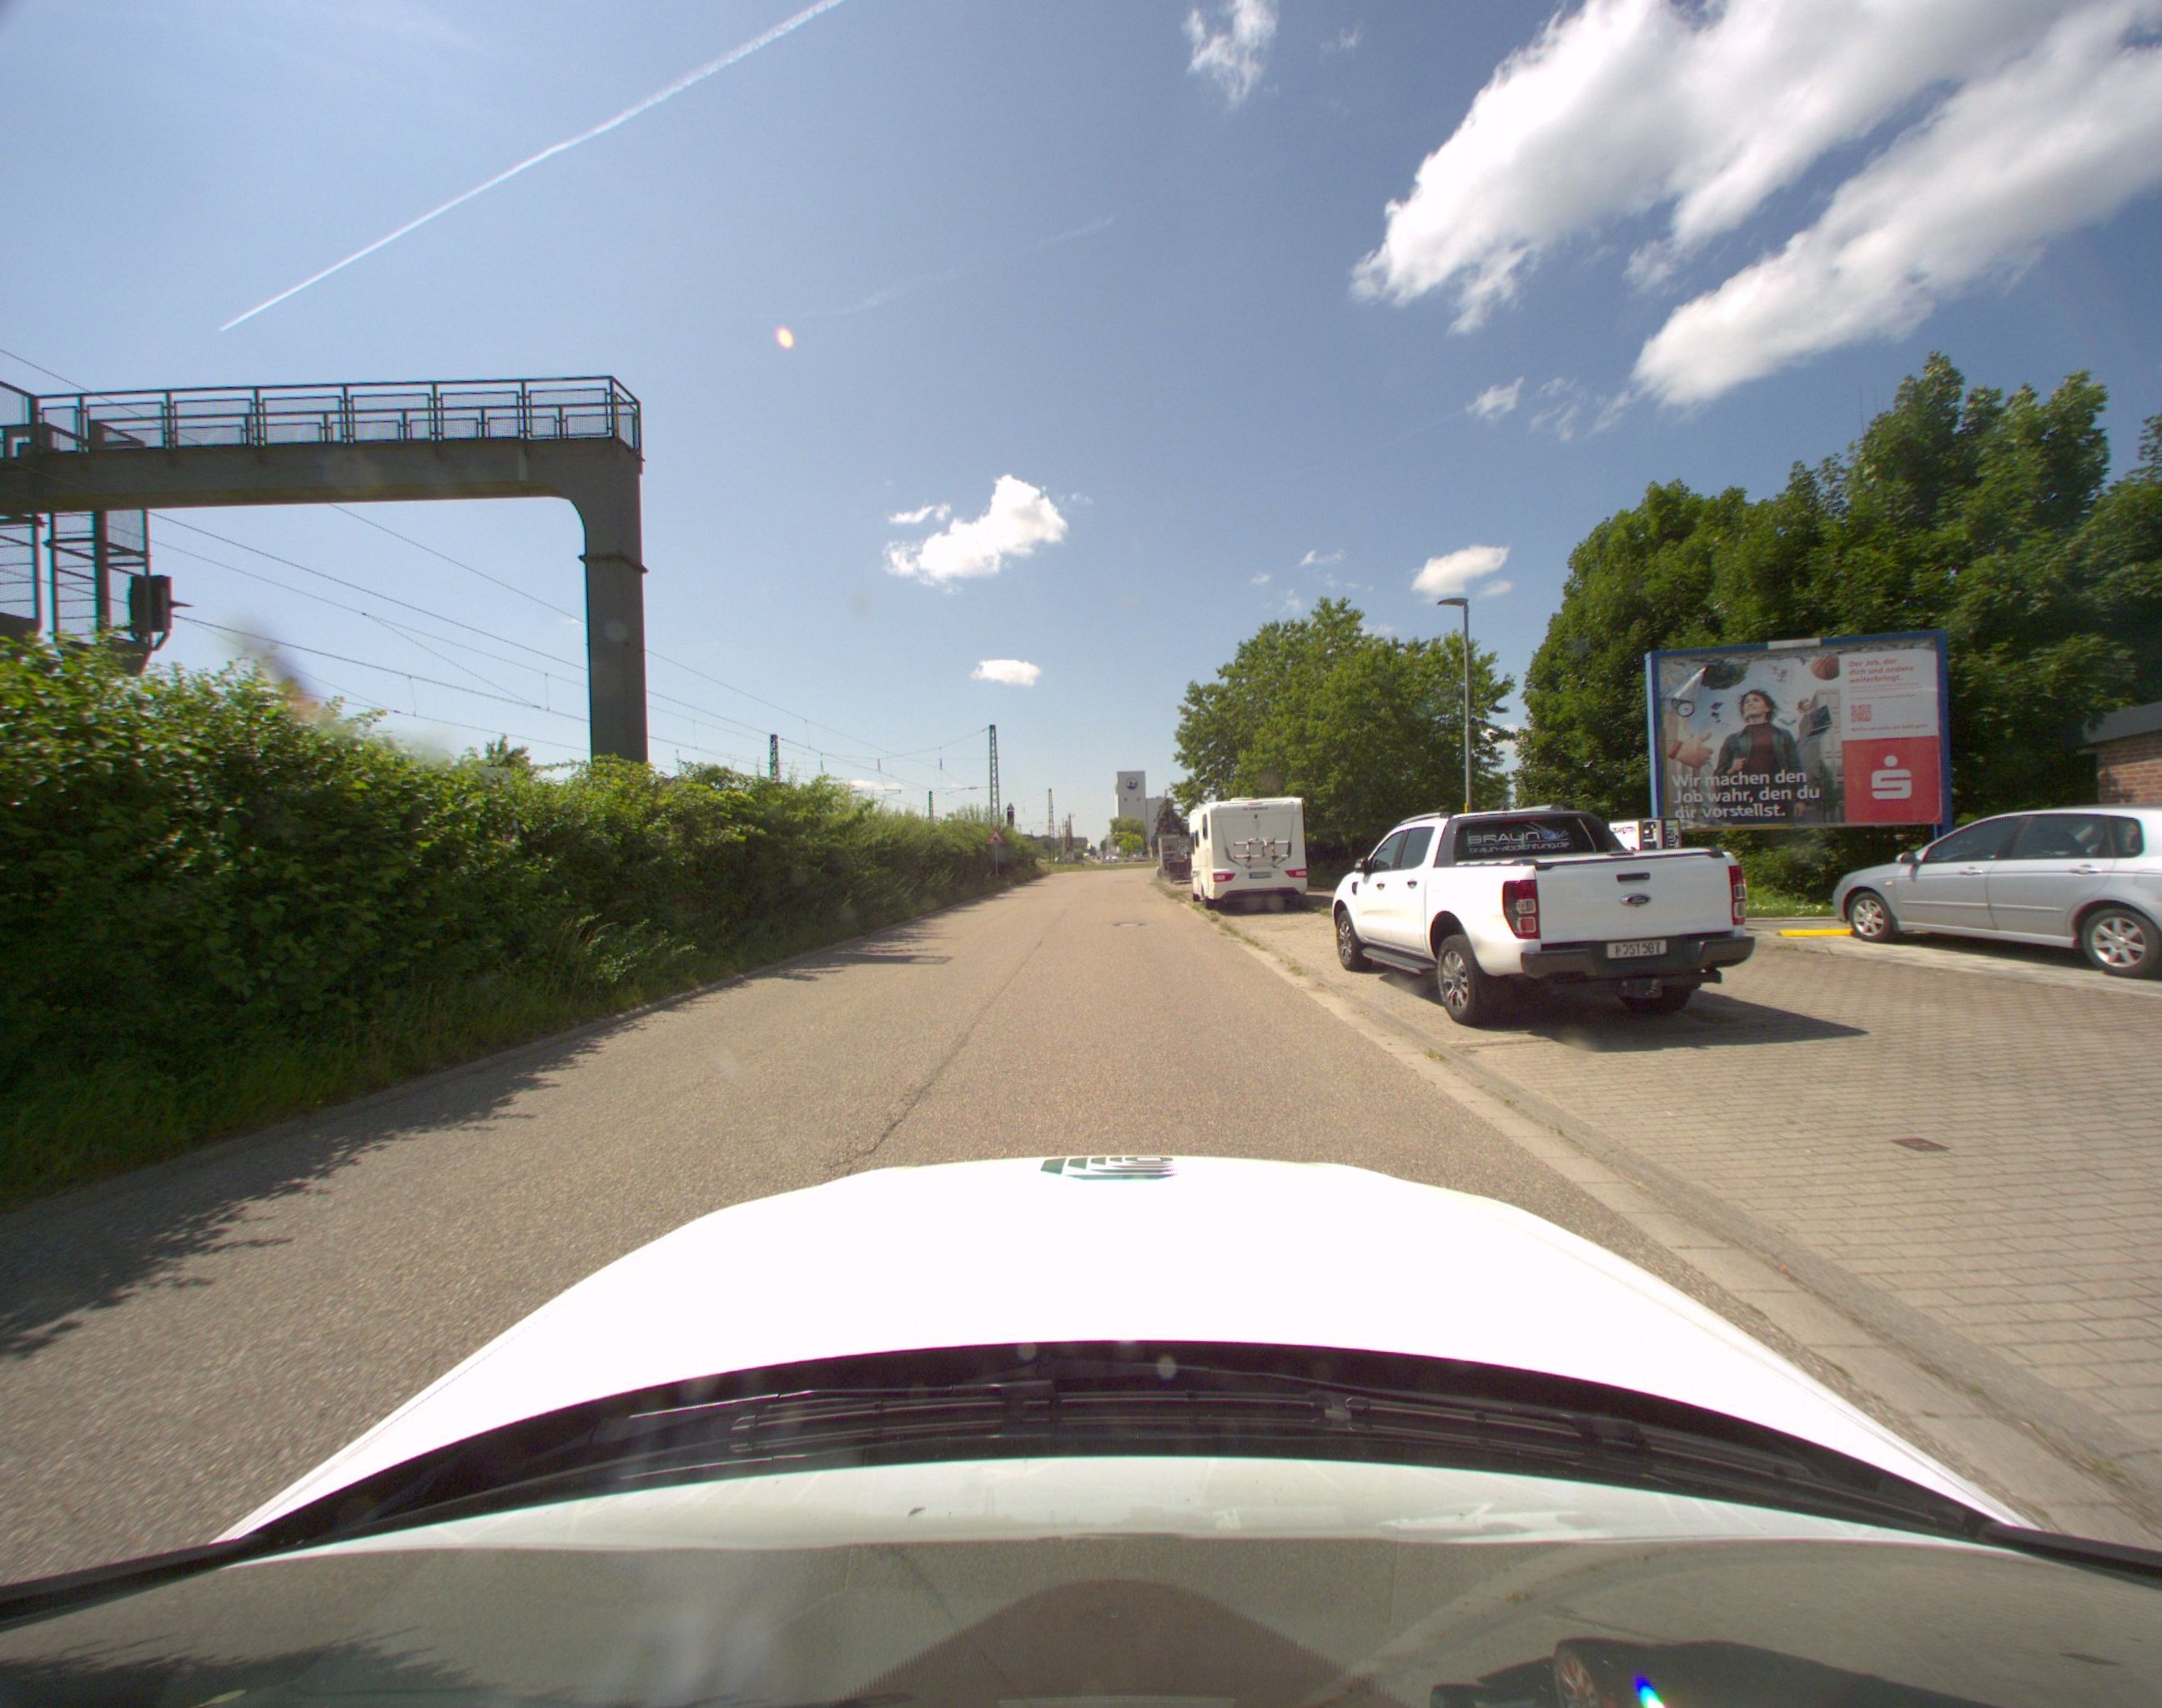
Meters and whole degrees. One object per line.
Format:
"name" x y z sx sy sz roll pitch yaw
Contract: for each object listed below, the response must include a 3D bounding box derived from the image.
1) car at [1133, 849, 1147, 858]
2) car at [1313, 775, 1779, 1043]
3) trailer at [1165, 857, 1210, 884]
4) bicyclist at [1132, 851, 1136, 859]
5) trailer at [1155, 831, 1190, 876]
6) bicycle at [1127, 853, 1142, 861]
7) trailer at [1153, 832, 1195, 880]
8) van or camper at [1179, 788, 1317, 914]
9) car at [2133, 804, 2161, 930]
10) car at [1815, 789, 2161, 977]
"car" 10.510 -0.019 145.034 1.990 1.510 4.448 -2 0 -4
"car" 4.087 0.395 8.526 1.840 1.814 5.427 -3 0 2
"trailer" 5.371 0.816 41.689 1.995 1.123 4.494 -4 -1 5
"bicyclist" 8.013 0.143 123.172 0.505 1.255 0.472 -2 0 33
"trailer" 5.905 -0.041 52.235 1.922 2.644 5.195 -4 0 8
"bicycle" 8.081 0.438 123.137 2.118 1.165 0.665 -2 0 33
"trailer" 5.343 0.117 47.152 1.911 2.508 4.744 -4 0 2
"van or camper" 4.366 -0.062 22.909 2.430 2.826 7.626 -3 0 2
"car" 12.384 0.124 7.052 1.736 1.376 4.011 -2 0 9
"car" 9.733 0.191 7.970 1.894 1.480 4.011 -2 0 9
